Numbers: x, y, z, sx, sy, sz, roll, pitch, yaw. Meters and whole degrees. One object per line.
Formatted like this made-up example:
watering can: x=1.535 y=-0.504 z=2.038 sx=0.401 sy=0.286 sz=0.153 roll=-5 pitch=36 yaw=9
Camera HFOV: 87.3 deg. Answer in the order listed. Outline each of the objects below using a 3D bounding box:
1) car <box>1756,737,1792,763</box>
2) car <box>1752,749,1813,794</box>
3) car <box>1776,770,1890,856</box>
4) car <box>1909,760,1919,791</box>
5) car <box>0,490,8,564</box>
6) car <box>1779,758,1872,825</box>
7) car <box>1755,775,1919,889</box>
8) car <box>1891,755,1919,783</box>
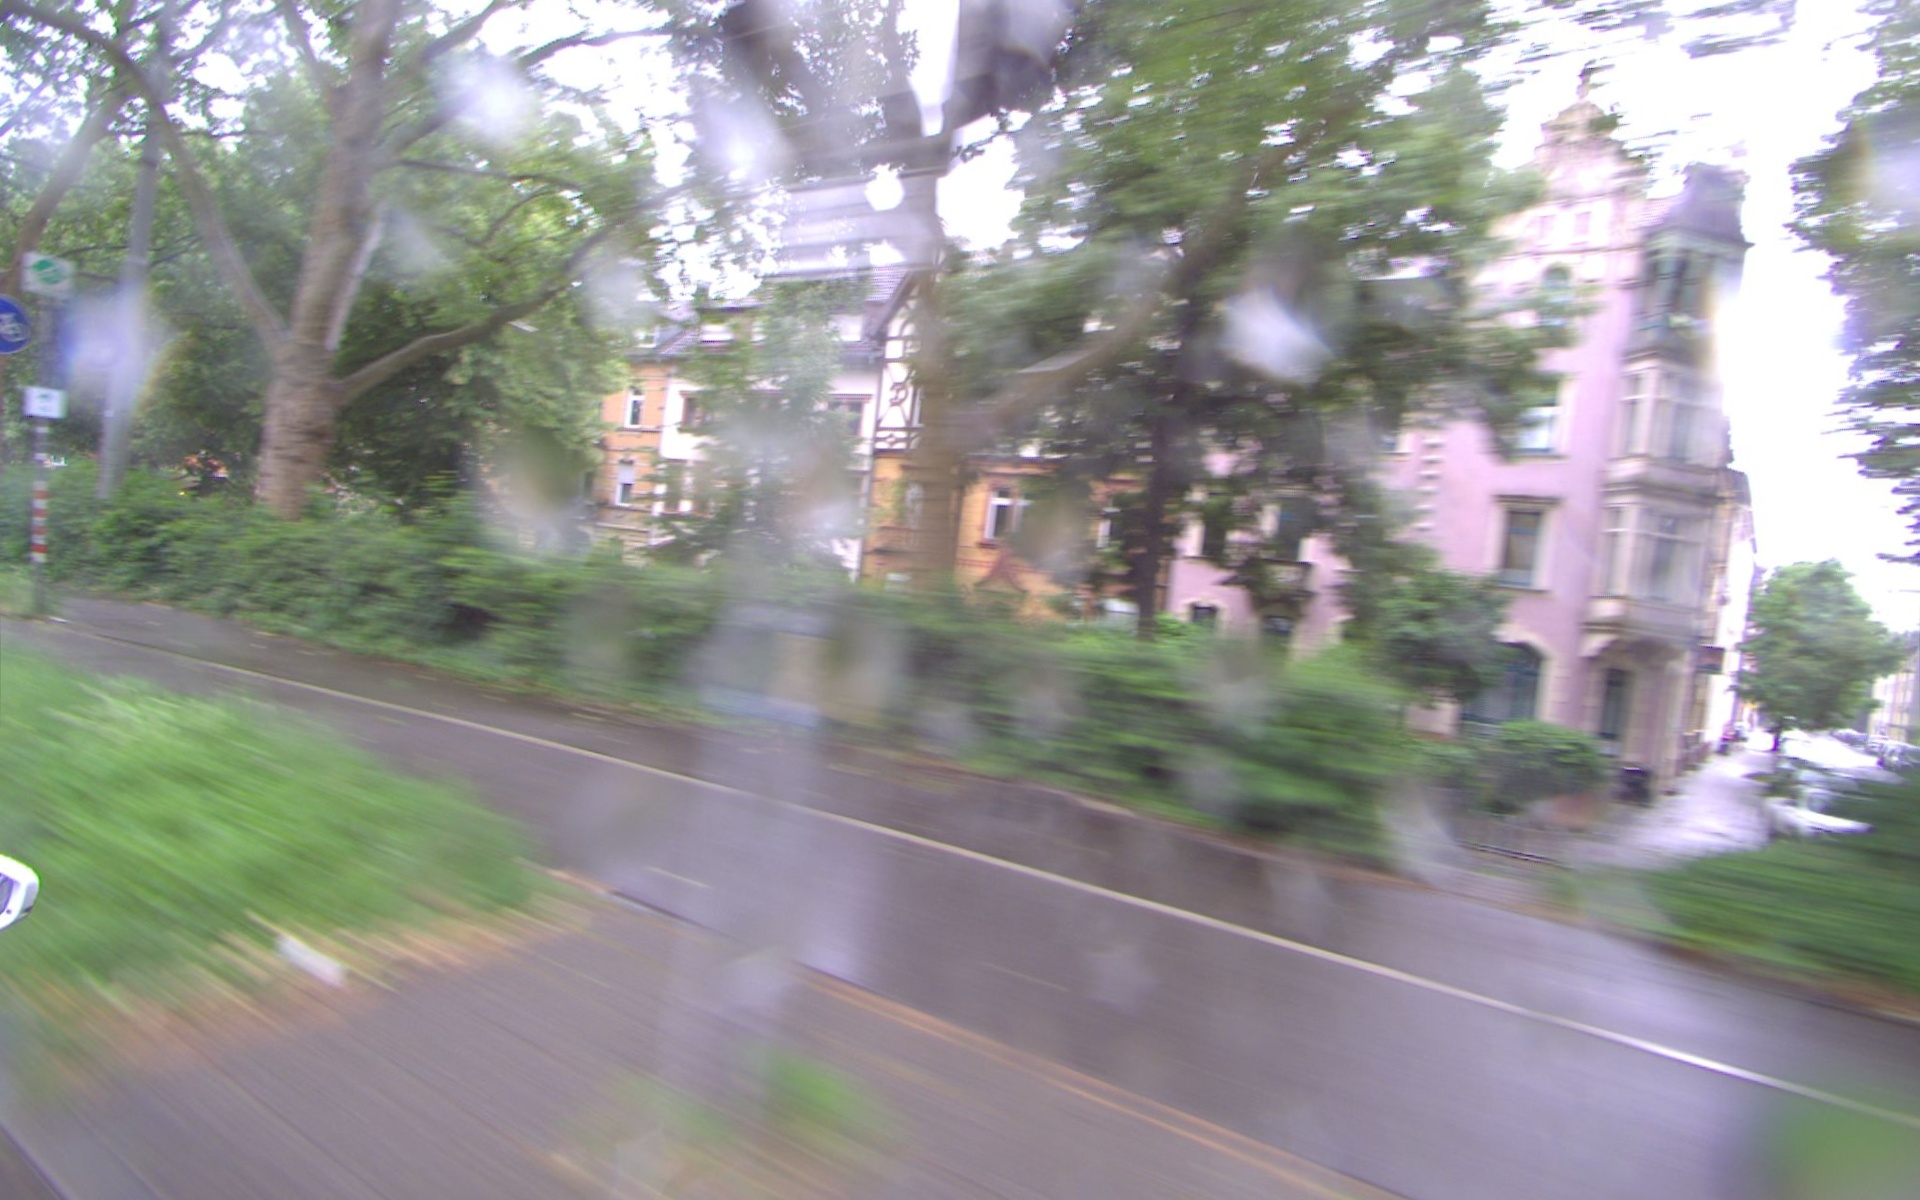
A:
car: x=59.298 y=10.872 z=73.329 sx=1.898 sy=1.487 sz=3.895 roll=5 pitch=-2 yaw=38
car: x=36.582 y=7.581 z=44.798 sx=1.898 sy=1.487 sz=3.895 roll=5 pitch=-2 yaw=38
car: x=22.405 y=5.405 z=25.945 sx=1.898 sy=1.529 sz=3.895 roll=5 pitch=-2 yaw=38
car: x=53.238 y=9.677 z=54.714 sx=1.898 sy=1.487 sz=3.895 roll=5 pitch=-2 yaw=38
car: x=-36.635 y=-2.906 z=35.881 sx=5.678 sy=2.565 sz=2.182 roll=7 pitch=2 yaw=29
car: x=27.073 y=5.947 z=31.577 sx=1.898 sy=1.529 sz=3.895 roll=5 pitch=-2 yaw=38
car: x=19.167 y=4.983 z=22.163 sx=1.894 sy=1.679 sz=3.994 roll=5 pitch=-2 yaw=30
car: x=60.800 y=10.809 z=63.977 sx=1.898 sy=1.487 sz=3.895 roll=5 pitch=-2 yaw=38
